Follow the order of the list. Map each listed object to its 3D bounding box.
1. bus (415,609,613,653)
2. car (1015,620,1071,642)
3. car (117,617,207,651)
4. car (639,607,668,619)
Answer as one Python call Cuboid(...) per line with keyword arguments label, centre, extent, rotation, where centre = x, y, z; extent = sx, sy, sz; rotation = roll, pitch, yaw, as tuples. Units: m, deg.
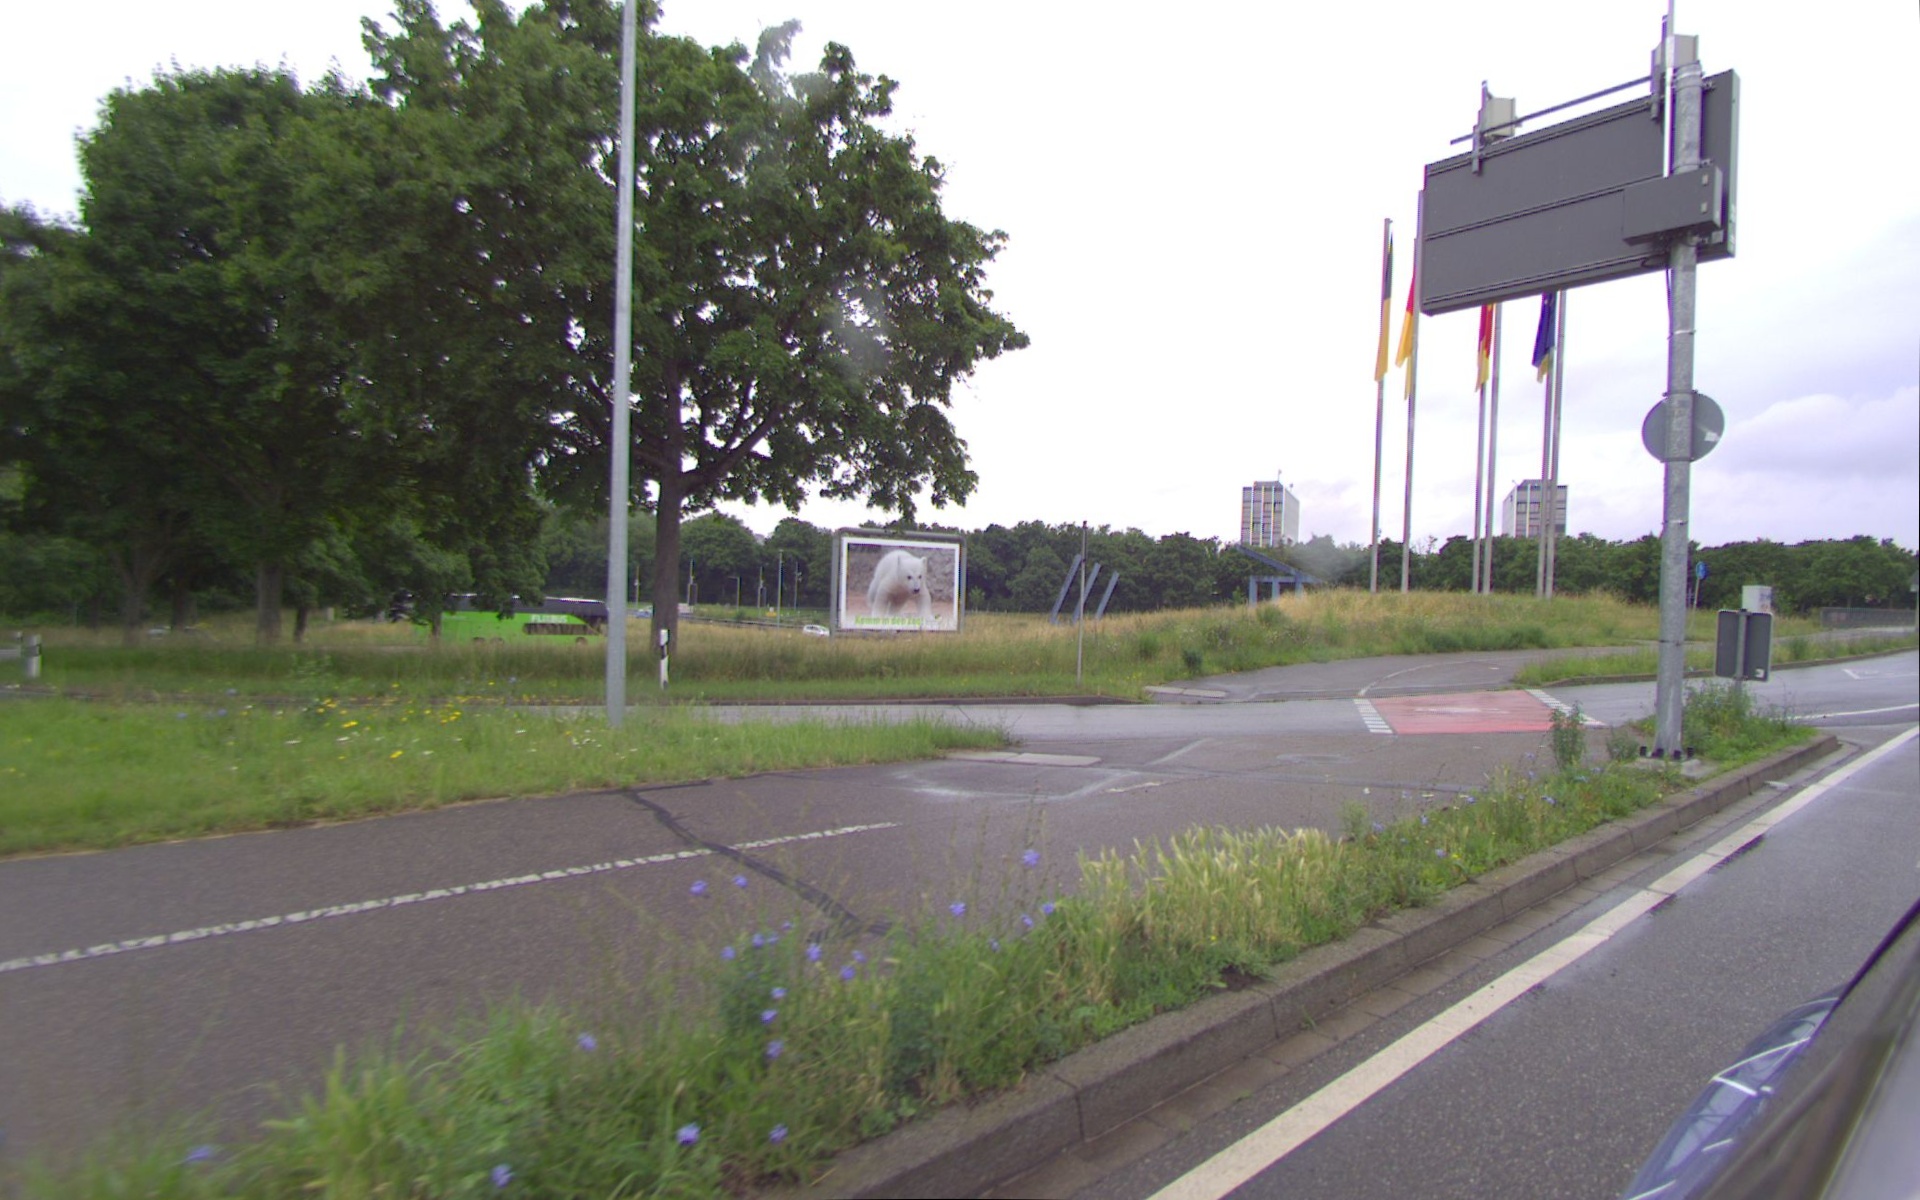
Cuboid(label="bus", centre=(-32.707, 2.153, 75.381), extent=(2.743, 2.713, 14.420), rotation=(1, 1, 33))
Cuboid(label="car", centre=(7.598, 2.838, 92.581), extent=(4.703, 1.719, 1.980), rotation=(2, 1, 29))
Cuboid(label="car", centre=(-41.498, 1.732, 52.751), extent=(1.823, 1.638, 4.004), rotation=(0, 0, -6))
Cuboid(label="car", centre=(-41.647, 1.761, 137.631), extent=(3.976, 1.585, 1.819), rotation=(0, 0, 37))
